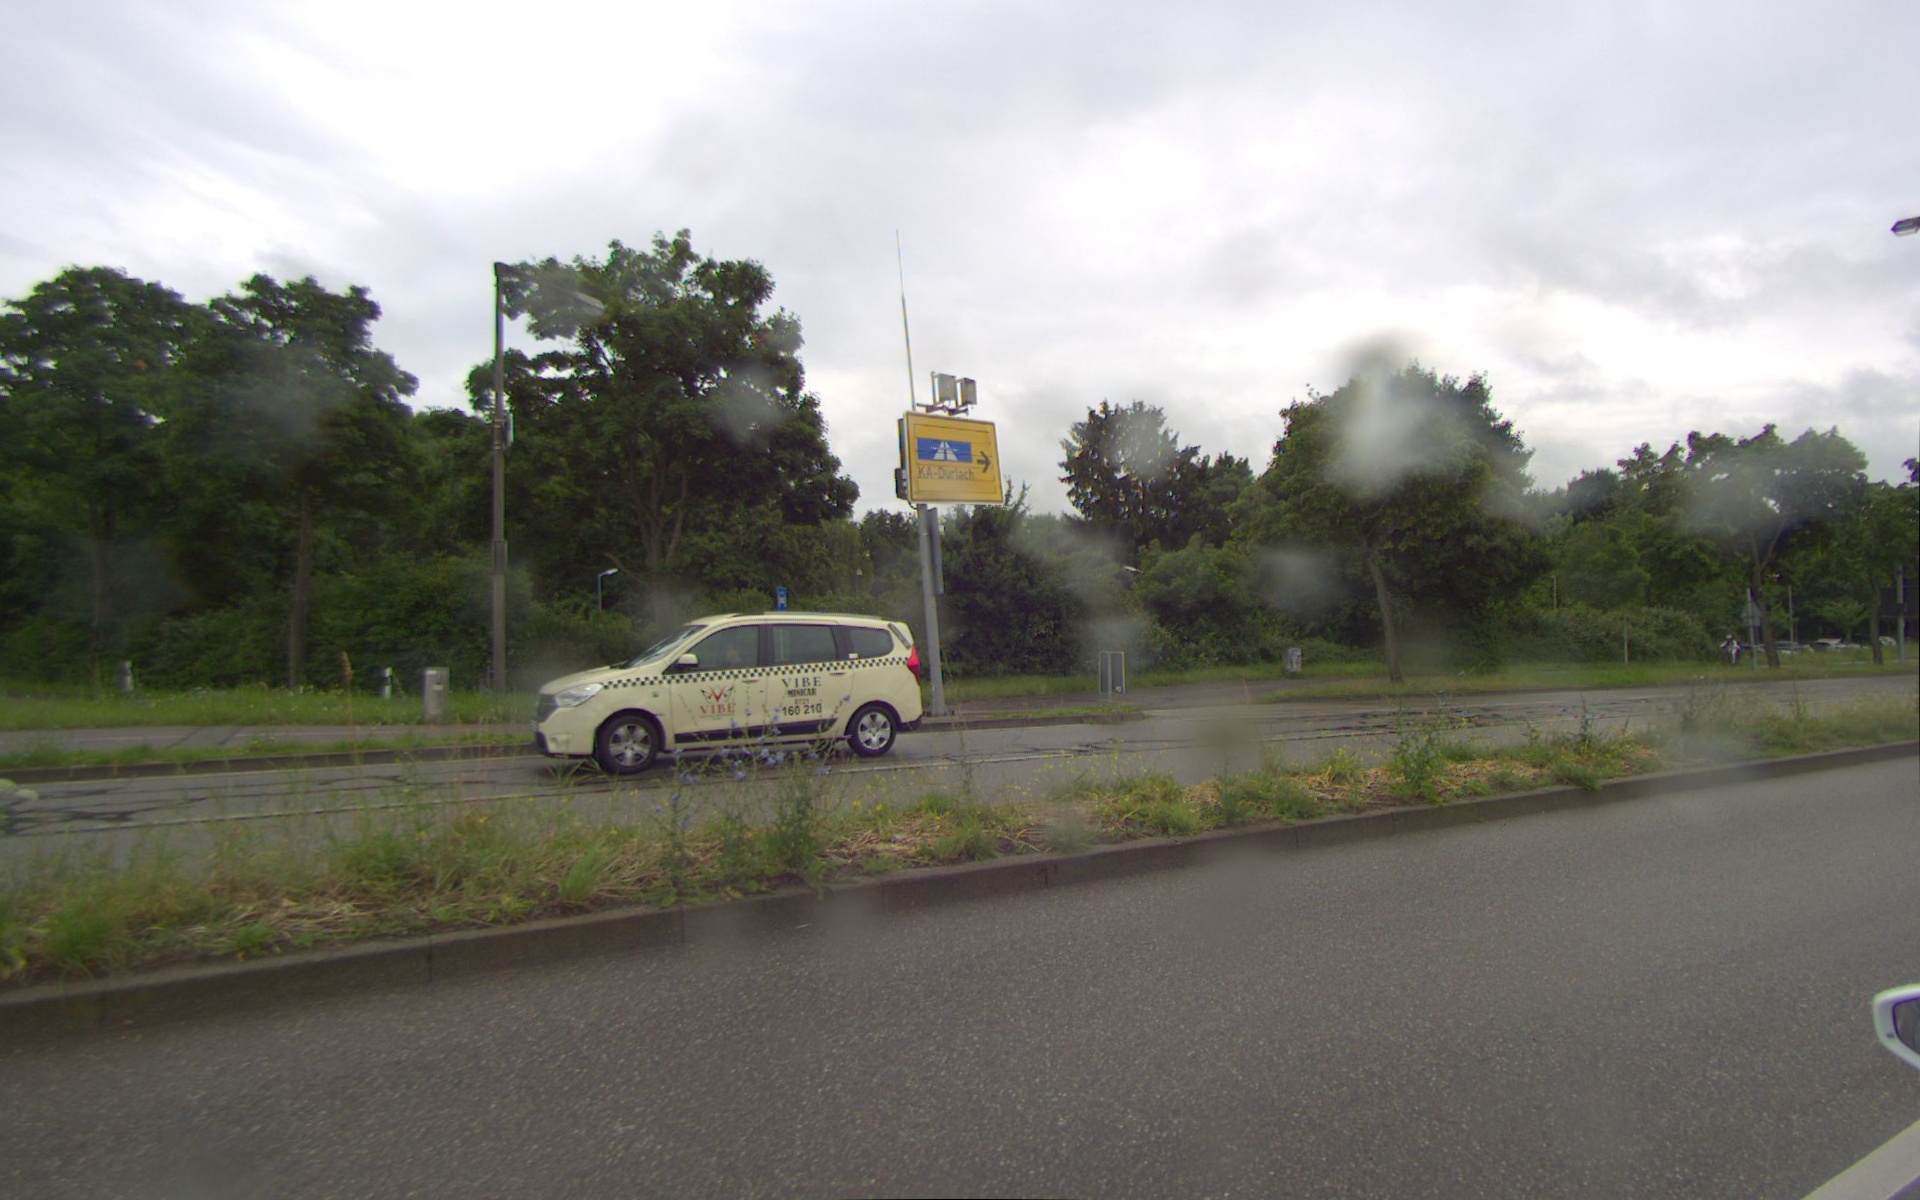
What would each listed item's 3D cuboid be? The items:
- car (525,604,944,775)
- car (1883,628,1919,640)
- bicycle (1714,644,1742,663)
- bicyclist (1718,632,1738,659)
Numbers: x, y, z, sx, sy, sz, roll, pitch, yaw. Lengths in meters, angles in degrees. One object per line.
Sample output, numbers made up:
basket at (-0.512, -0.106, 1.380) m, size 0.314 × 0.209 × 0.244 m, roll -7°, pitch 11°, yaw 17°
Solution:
car at (-2.523, 0.949, 11.631) m, size 4.441 × 1.651 × 1.699 m, roll 1°, pitch -4°, yaw -32°
car at (111.511, 3.990, 118.424) m, size 1.475 × 1.445 × 3.706 m, roll 0°, pitch -1°, yaw -38°
bicycle at (37.442, 2.607, 48.961) m, size 1.615 × 0.897 × 0.519 m, roll 1°, pitch 0°, yaw -31°
bicyclist at (37.453, 2.220, 48.964) m, size 0.799 × 1.320 × 0.519 m, roll 1°, pitch 0°, yaw -31°
